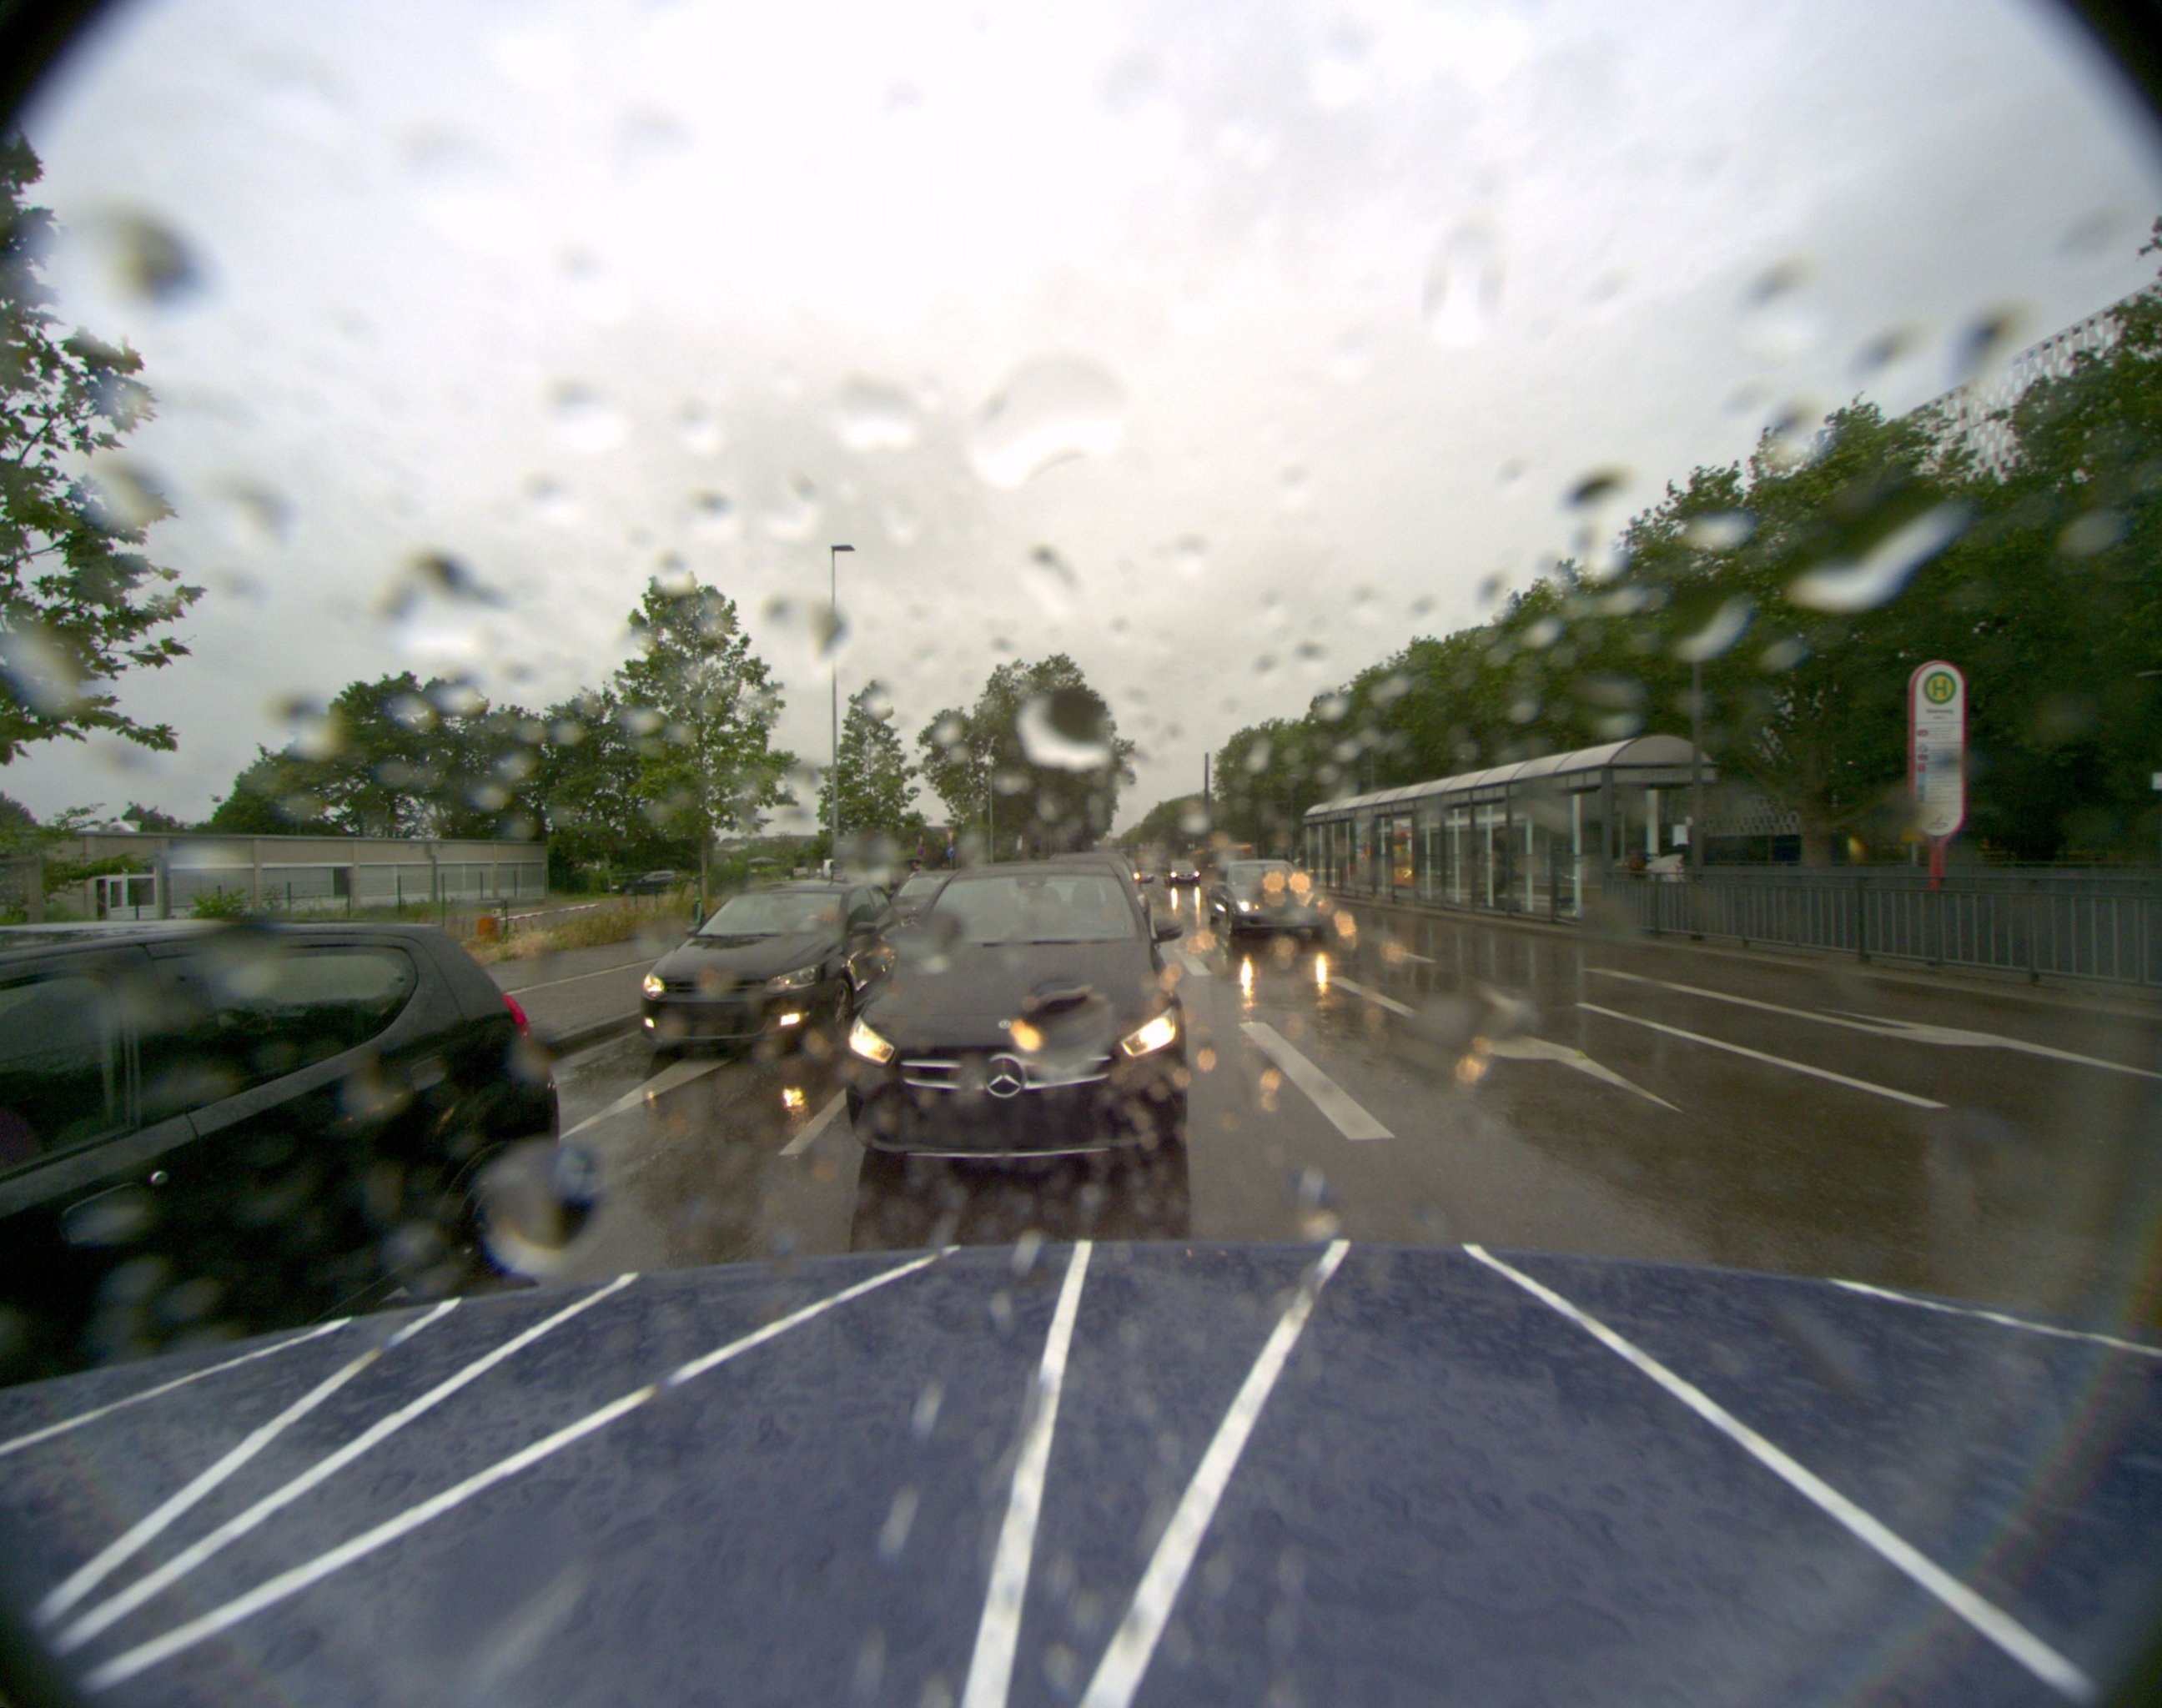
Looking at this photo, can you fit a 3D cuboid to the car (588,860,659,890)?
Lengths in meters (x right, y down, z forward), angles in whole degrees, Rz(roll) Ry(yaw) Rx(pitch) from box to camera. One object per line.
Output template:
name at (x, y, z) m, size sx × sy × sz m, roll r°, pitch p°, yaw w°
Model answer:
car at (-33.966, 1.518, 56.529) m, size 3.996 × 2.002 × 2.000 m, roll -2°, pitch 1°, yaw 2°

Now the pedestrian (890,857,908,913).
pedestrian at (-5.391, 0.917, 22.532) m, size 0.401 × 1.652 × 0.441 m, roll 1°, pitch 1°, yaw 0°

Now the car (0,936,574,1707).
car at (-3.007, 1.083, 1.432) m, size 1.633 × 1.420 × 3.624 m, roll -2°, pitch 0°, yaw 0°

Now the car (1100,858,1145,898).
car at (1.841, 1.044, 35.003) m, size 1.794 × 1.597 × 3.999 m, roll -2°, pitch 1°, yaw 0°

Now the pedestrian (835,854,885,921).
pedestrian at (-5.928, 0.878, 20.434) m, size 1.082 × 1.746 × 0.969 m, roll 0°, pitch 1°, yaw 0°

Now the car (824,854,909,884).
car at (-13.497, 0.941, 48.072) m, size 4.759 × 1.640 × 1.999 m, roll -2°, pitch 1°, yaw -2°

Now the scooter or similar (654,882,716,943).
scooter or similar at (-8.209, 1.185, 15.820) m, size 0.381 × 1.123 × 1.777 m, roll 0°, pitch 1°, yaw -1°

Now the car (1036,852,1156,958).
car at (0.205, 0.725, 12.510) m, size 1.633 × 1.420 × 3.624 m, roll -2°, pitch 0°, yaw 0°

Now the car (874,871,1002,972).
car at (-2.671, 1.211, 15.017) m, size 1.698 × 1.565 × 3.813 m, roll -2°, pitch 1°, yaw 1°

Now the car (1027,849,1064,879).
car at (-1.843, 0.496, 40.091) m, size 1.703 × 1.461 × 4.121 m, roll -2°, pitch 1°, yaw 0°

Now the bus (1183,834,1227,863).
bus at (15.867, -0.705, 98.262) m, size 2.939 × 3.310 × 15.060 m, roll -2°, pitch 1°, yaw -1°

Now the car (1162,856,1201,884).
car at (5.894, 0.899, 45.041) m, size 1.775 × 1.492 × 4.597 m, roll -2°, pitch 1°, yaw 2°

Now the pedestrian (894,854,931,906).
pedestrian at (-5.693, 0.858, 25.704) m, size 1.025 × 1.698 × 0.891 m, roll 1°, pitch 1°, yaw 0°

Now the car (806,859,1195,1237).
car at (-0.333, 0.896, 5.507) m, size 1.690 × 1.578 × 4.163 m, roll -2°, pitch 1°, yaw 1°

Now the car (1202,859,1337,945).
car at (3.672, 0.859, 15.625) m, size 1.766 × 1.390 × 4.645 m, roll -2°, pitch 0°, yaw 2°

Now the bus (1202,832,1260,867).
bus at (16.100, -0.517, 83.069) m, size 2.939 × 3.310 × 15.059 m, roll -2°, pitch 1°, yaw -1°

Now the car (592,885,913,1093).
car at (-2.943, 1.116, 7.691) m, size 1.633 × 1.420 × 3.624 m, roll -2°, pitch 0°, yaw 0°
